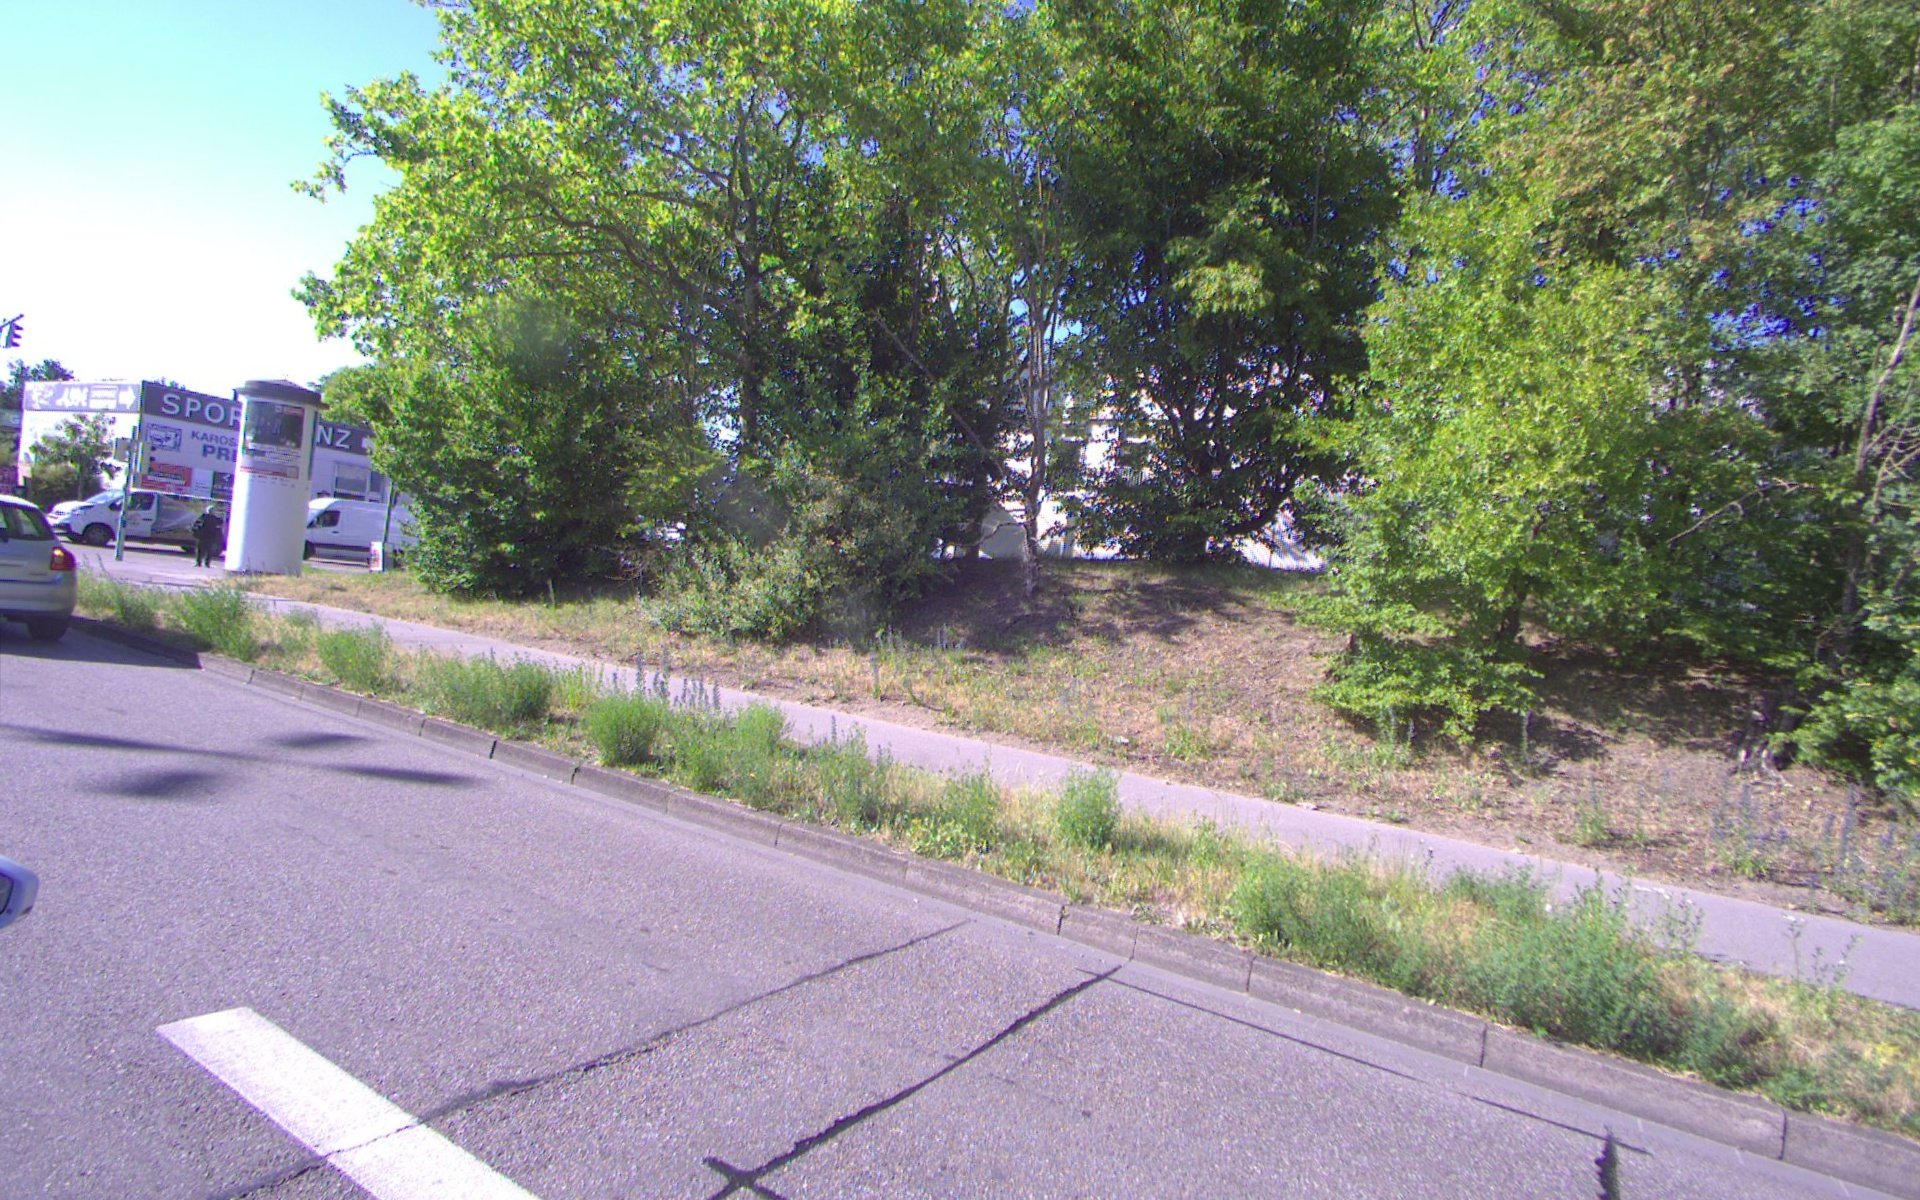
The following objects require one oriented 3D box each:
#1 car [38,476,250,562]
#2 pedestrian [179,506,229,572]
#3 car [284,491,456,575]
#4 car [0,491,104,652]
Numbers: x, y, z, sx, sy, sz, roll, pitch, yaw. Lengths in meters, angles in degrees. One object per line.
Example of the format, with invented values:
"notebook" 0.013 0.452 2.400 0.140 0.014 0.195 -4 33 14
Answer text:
"car" -26.688 -2.591 33.115 1.849 2.060 4.962 7 -1 30
"pedestrian" -21.011 -1.693 27.983 0.506 1.688 0.818 6 -1 31
"car" -24.629 -2.733 42.270 1.967 2.706 5.840 6 0 32
"car" -11.337 -0.525 10.957 4.039 1.555 1.787 7 -2 32
